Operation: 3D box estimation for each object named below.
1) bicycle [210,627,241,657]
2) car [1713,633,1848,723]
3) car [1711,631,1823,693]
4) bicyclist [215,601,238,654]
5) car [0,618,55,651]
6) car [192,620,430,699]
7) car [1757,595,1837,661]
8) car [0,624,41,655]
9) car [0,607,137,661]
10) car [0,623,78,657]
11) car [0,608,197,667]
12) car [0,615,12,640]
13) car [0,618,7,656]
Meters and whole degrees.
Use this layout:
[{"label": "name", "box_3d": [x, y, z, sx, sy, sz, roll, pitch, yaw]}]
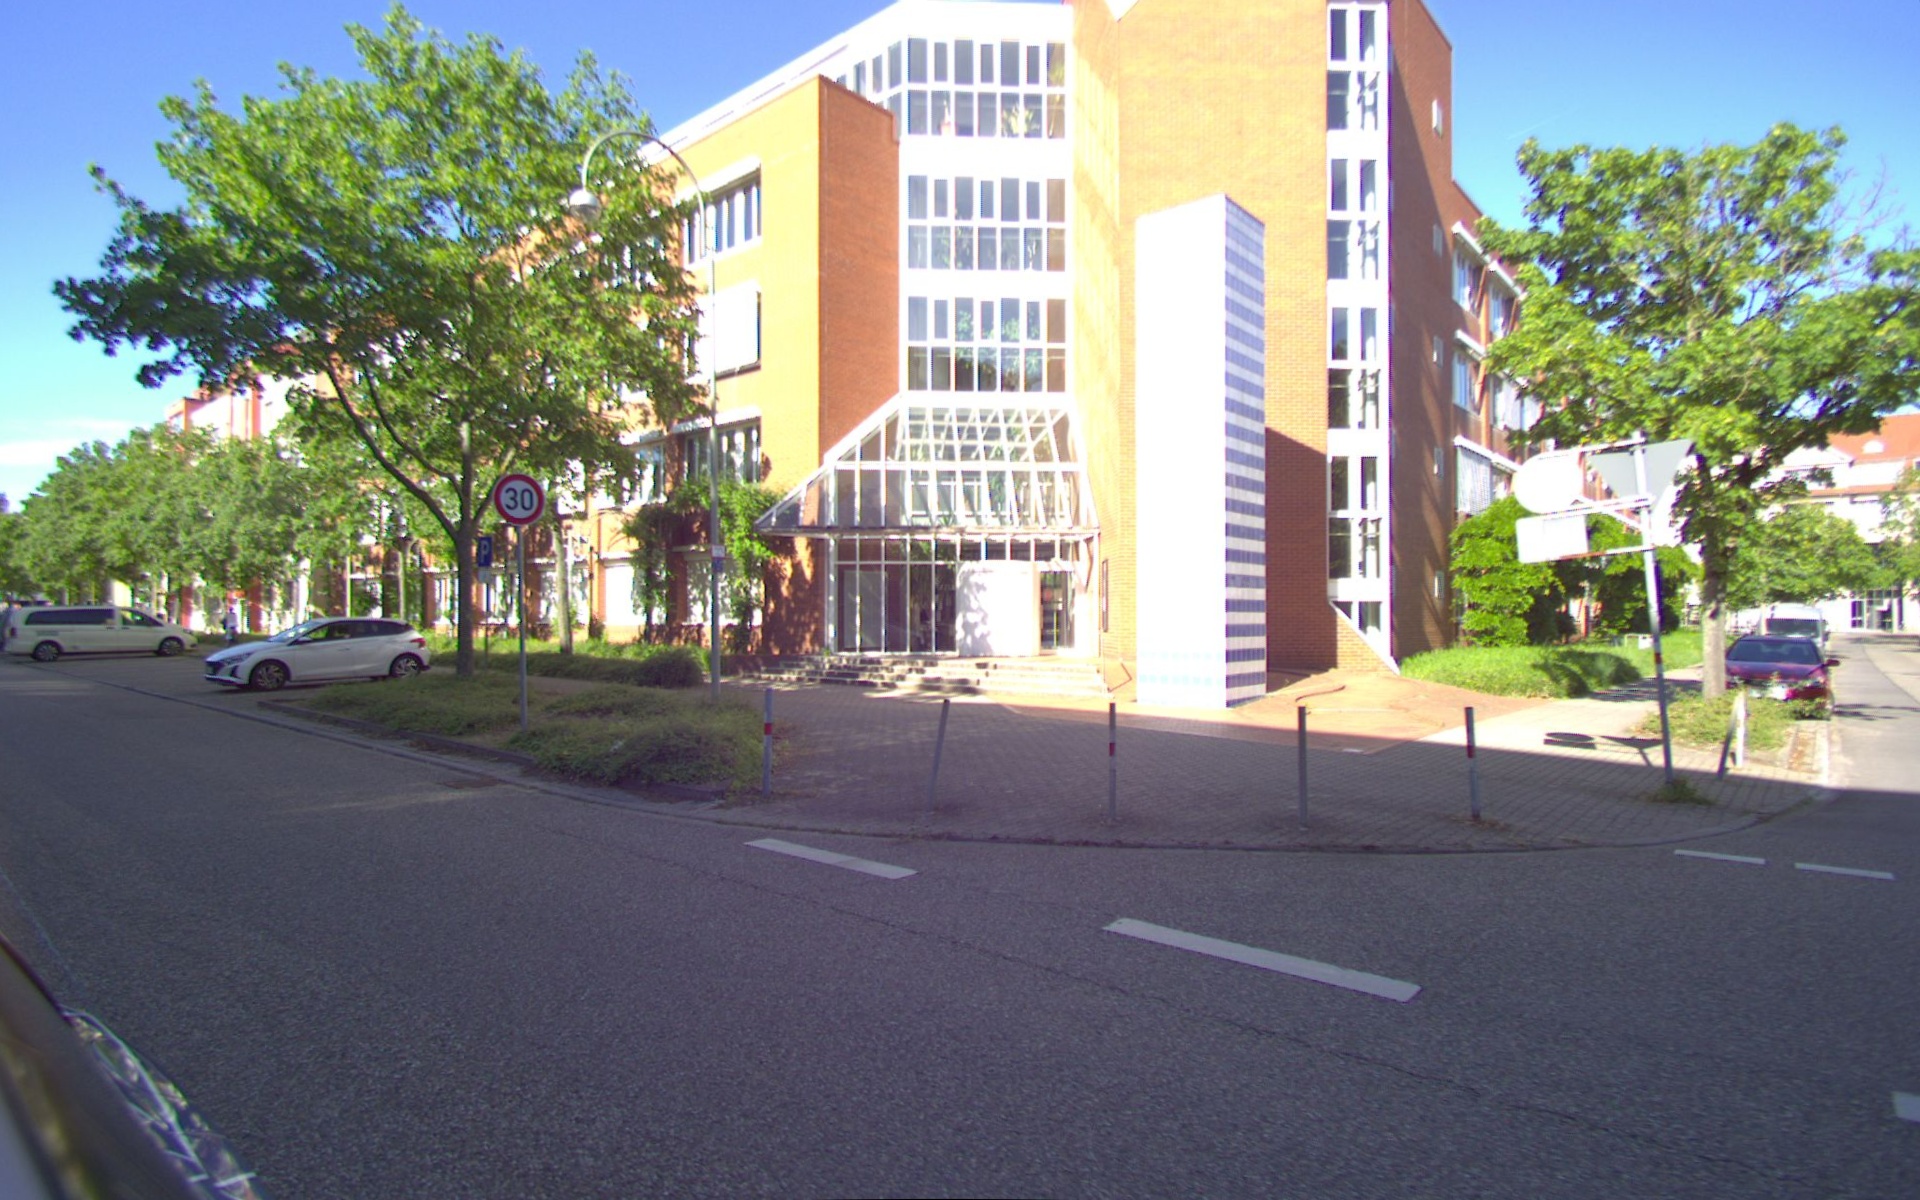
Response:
[{"label": "bicycle", "box_3d": [-28.322, 1.602, 39.007, 0.628, 1.107, 2.156, 1, -2, -45]}, {"label": "car", "box_3d": [16.117, 1.424, 19.796, 1.847, 1.463, 4.379, -1, -1, 42]}, {"label": "car", "box_3d": [19.265, 1.399, 24.077, 1.847, 1.196, 4.658, 1, 0, 42]}, {"label": "bicyclist", "box_3d": [-28.344, 1.063, 39.103, 0.609, 2.029, 0.625, -1, 0, 44]}, {"label": "car", "box_3d": [-49.283, 1.776, 52.419, 1.594, 1.641, 3.407, -1, -2, 41]}, {"label": "car", "box_3d": [-13.591, 1.179, 21.380, 1.617, 1.430, 3.953, -1, 0, 40]}, {"label": "car", "box_3d": [30.809, 1.033, 37.196, 2.084, 2.287, 4.658, -1, -2, 42]}, {"label": "car", "box_3d": [-51.086, 2.083, 53.569, 1.594, 1.669, 3.407, -1, -2, 41]}, {"label": "car", "box_3d": [-38.129, 1.437, 43.060, 2.000, 2.185, 4.573, -1, -2, 42]}, {"label": "car", "box_3d": [-43.393, 1.841, 47.051, 1.594, 1.567, 3.407, -1, -2, 41]}, {"label": "car", "box_3d": [-30.654, 1.279, 36.091, 2.000, 1.901, 5.248, -1, -1, 42]}, {"label": "car", "box_3d": [-63.366, 1.762, 65.005, 1.594, 1.669, 3.407, -1, -2, 41]}, {"label": "car", "box_3d": [-43.470, 1.567, 43.155, 1.795, 1.659, 3.954, -1, -2, 42]}]
